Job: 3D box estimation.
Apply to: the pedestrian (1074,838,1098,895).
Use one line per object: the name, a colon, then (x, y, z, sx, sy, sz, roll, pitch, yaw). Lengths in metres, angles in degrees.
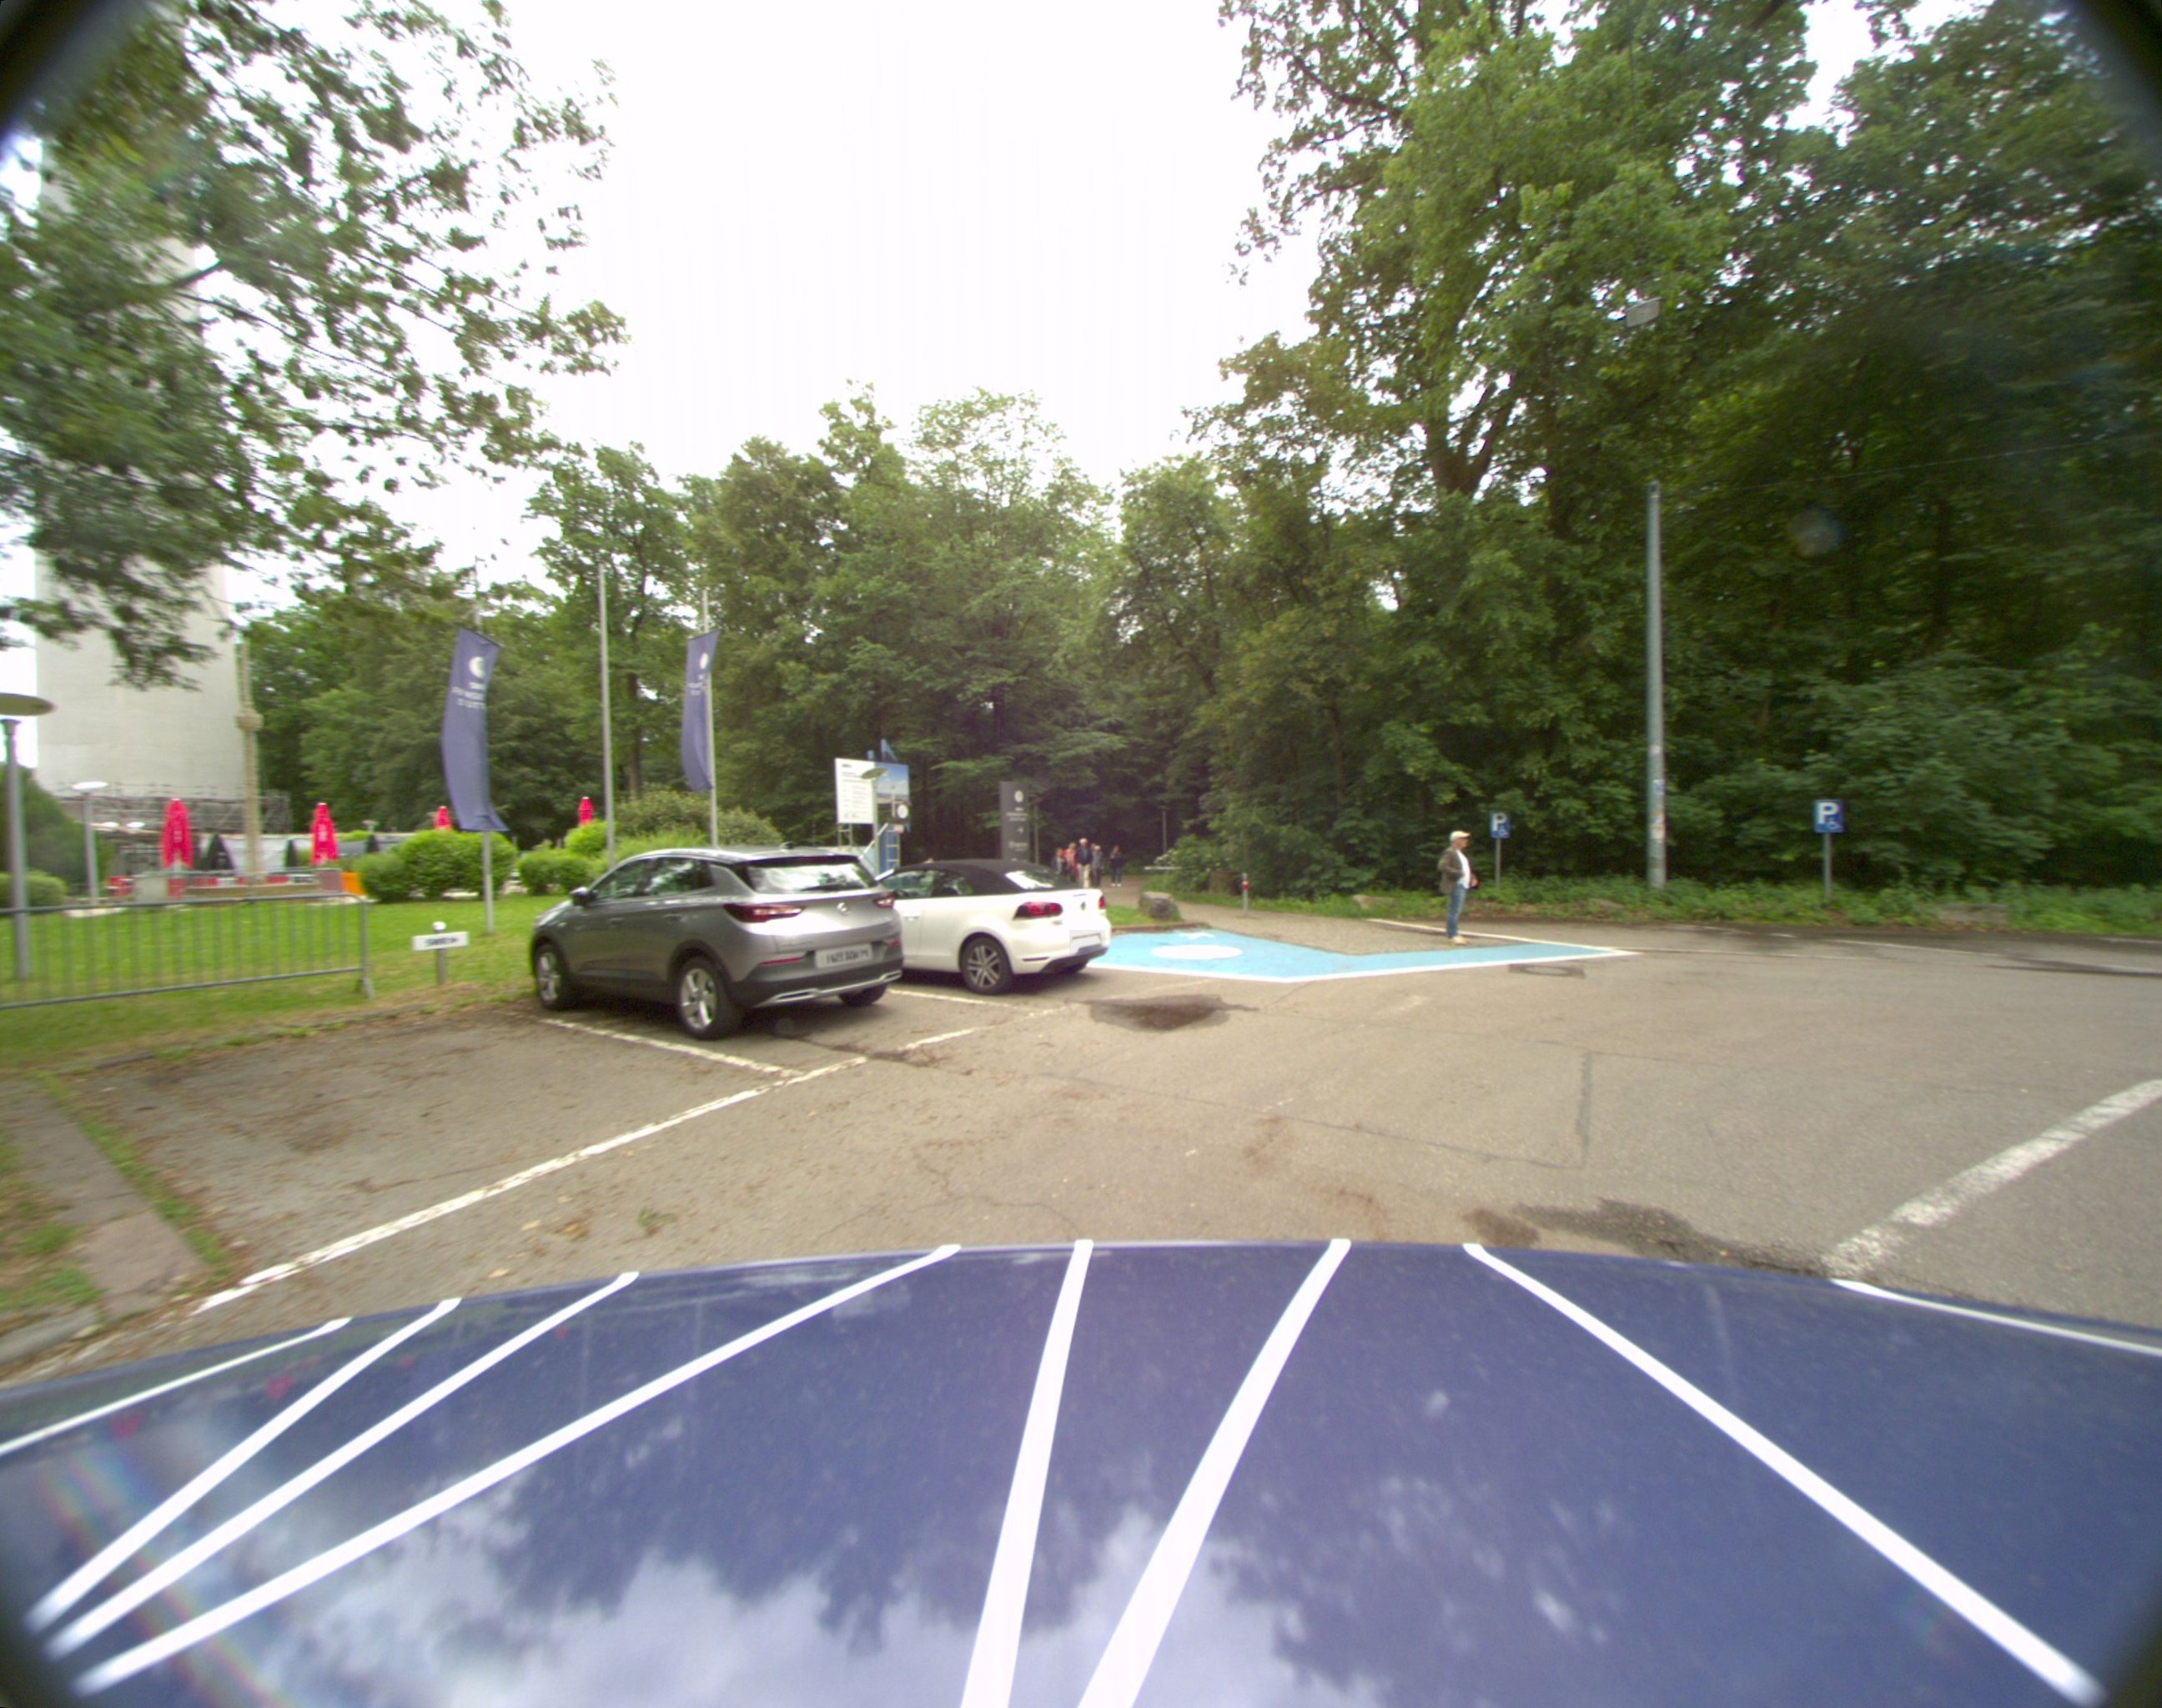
pedestrian: (0.171, 0.420, 26.049, 0.734, 1.905, 0.668, -1, 1, -3)

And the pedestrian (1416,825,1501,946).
pedestrian: (5.663, 0.442, 11.416, 0.766, 1.715, 0.894, -2, 2, -40)

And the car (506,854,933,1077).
car: (-3.600, 0.830, 7.402, 3.989, 1.576, 1.903, -1, 1, 33)

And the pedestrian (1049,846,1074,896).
pedestrian: (-0.661, 0.560, 25.160, 0.778, 1.625, 0.637, -1, 1, -3)

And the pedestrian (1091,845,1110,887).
pedestrian: (0.769, 0.469, 30.377, 0.609, 1.664, 0.605, -2, 1, -8)

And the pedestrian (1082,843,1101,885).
pedestrian: (0.435, 0.409, 31.808, 0.681, 1.758, 0.713, -2, 1, -8)

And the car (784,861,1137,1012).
car: (-1.538, 0.838, 9.333, 3.989, 1.420, 1.903, -1, 1, 33)

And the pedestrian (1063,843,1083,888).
pedestrian: (-0.326, 0.452, 30.388, 0.683, 1.752, 0.605, -2, 1, -8)
